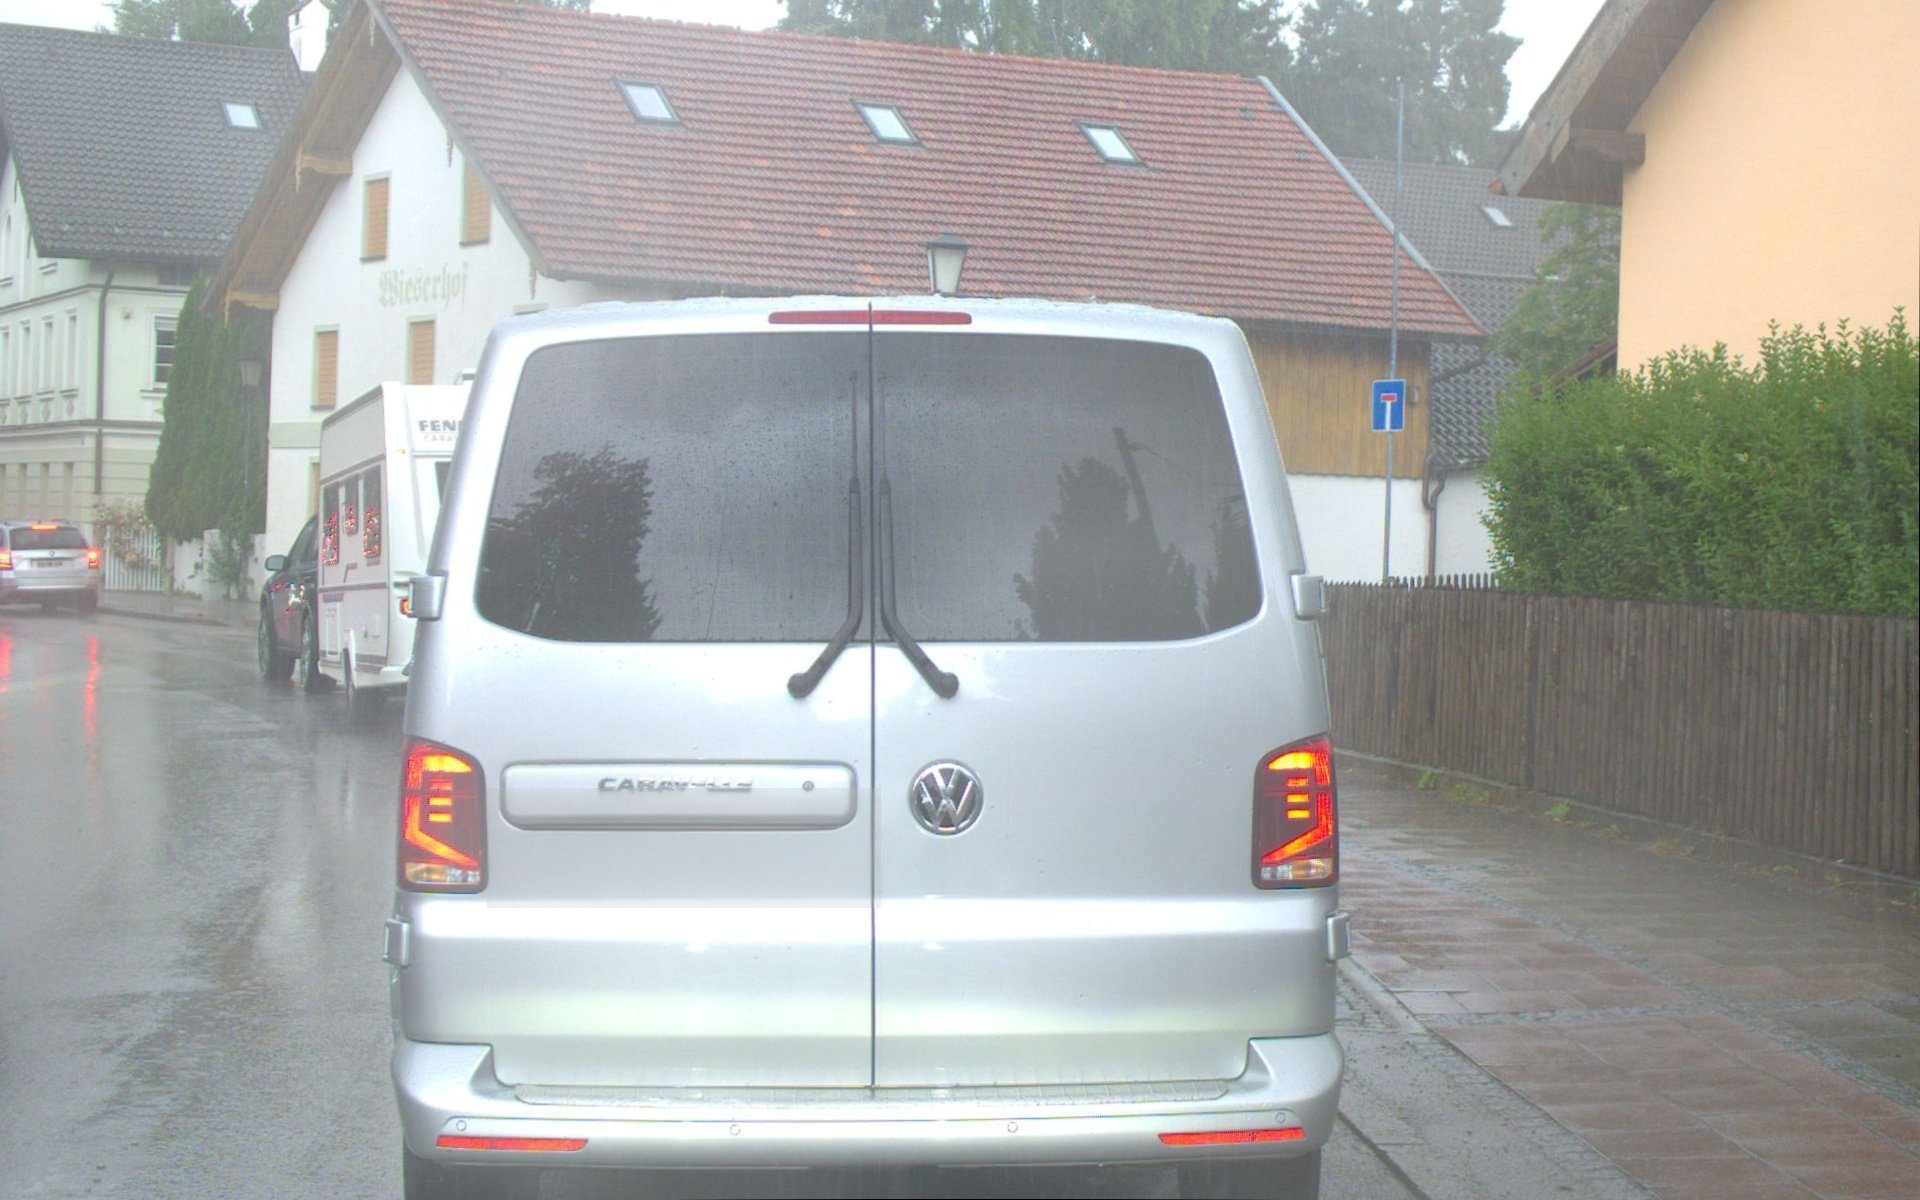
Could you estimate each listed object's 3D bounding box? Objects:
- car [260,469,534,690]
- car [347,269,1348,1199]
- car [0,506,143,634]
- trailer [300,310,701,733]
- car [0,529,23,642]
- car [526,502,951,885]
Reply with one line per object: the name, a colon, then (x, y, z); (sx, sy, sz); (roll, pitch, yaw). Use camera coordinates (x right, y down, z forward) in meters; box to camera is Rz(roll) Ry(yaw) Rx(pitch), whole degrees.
car: (-5.361, -0.220, 32.200); (2.053, 1.892, 5.177); (0, 1, -15)
car: (-0.214, 0.350, 8.656); (1.776, 1.956, 5.074); (0, 1, 0)
car: (-14.763, -0.491, 54.934); (2.168, 1.893, 5.015); (2, 0, -27)
trailer: (-3.734, -0.591, 26.780); (2.270, 2.894, 6.134); (0, 1, -15)
car: (-18.140, -0.354, 60.497); (2.168, 1.892, 5.015); (2, 1, -27)
car: (-1.238, 0.333, 17.134); (1.708, 1.578, 4.687); (-1, 2, -8)
